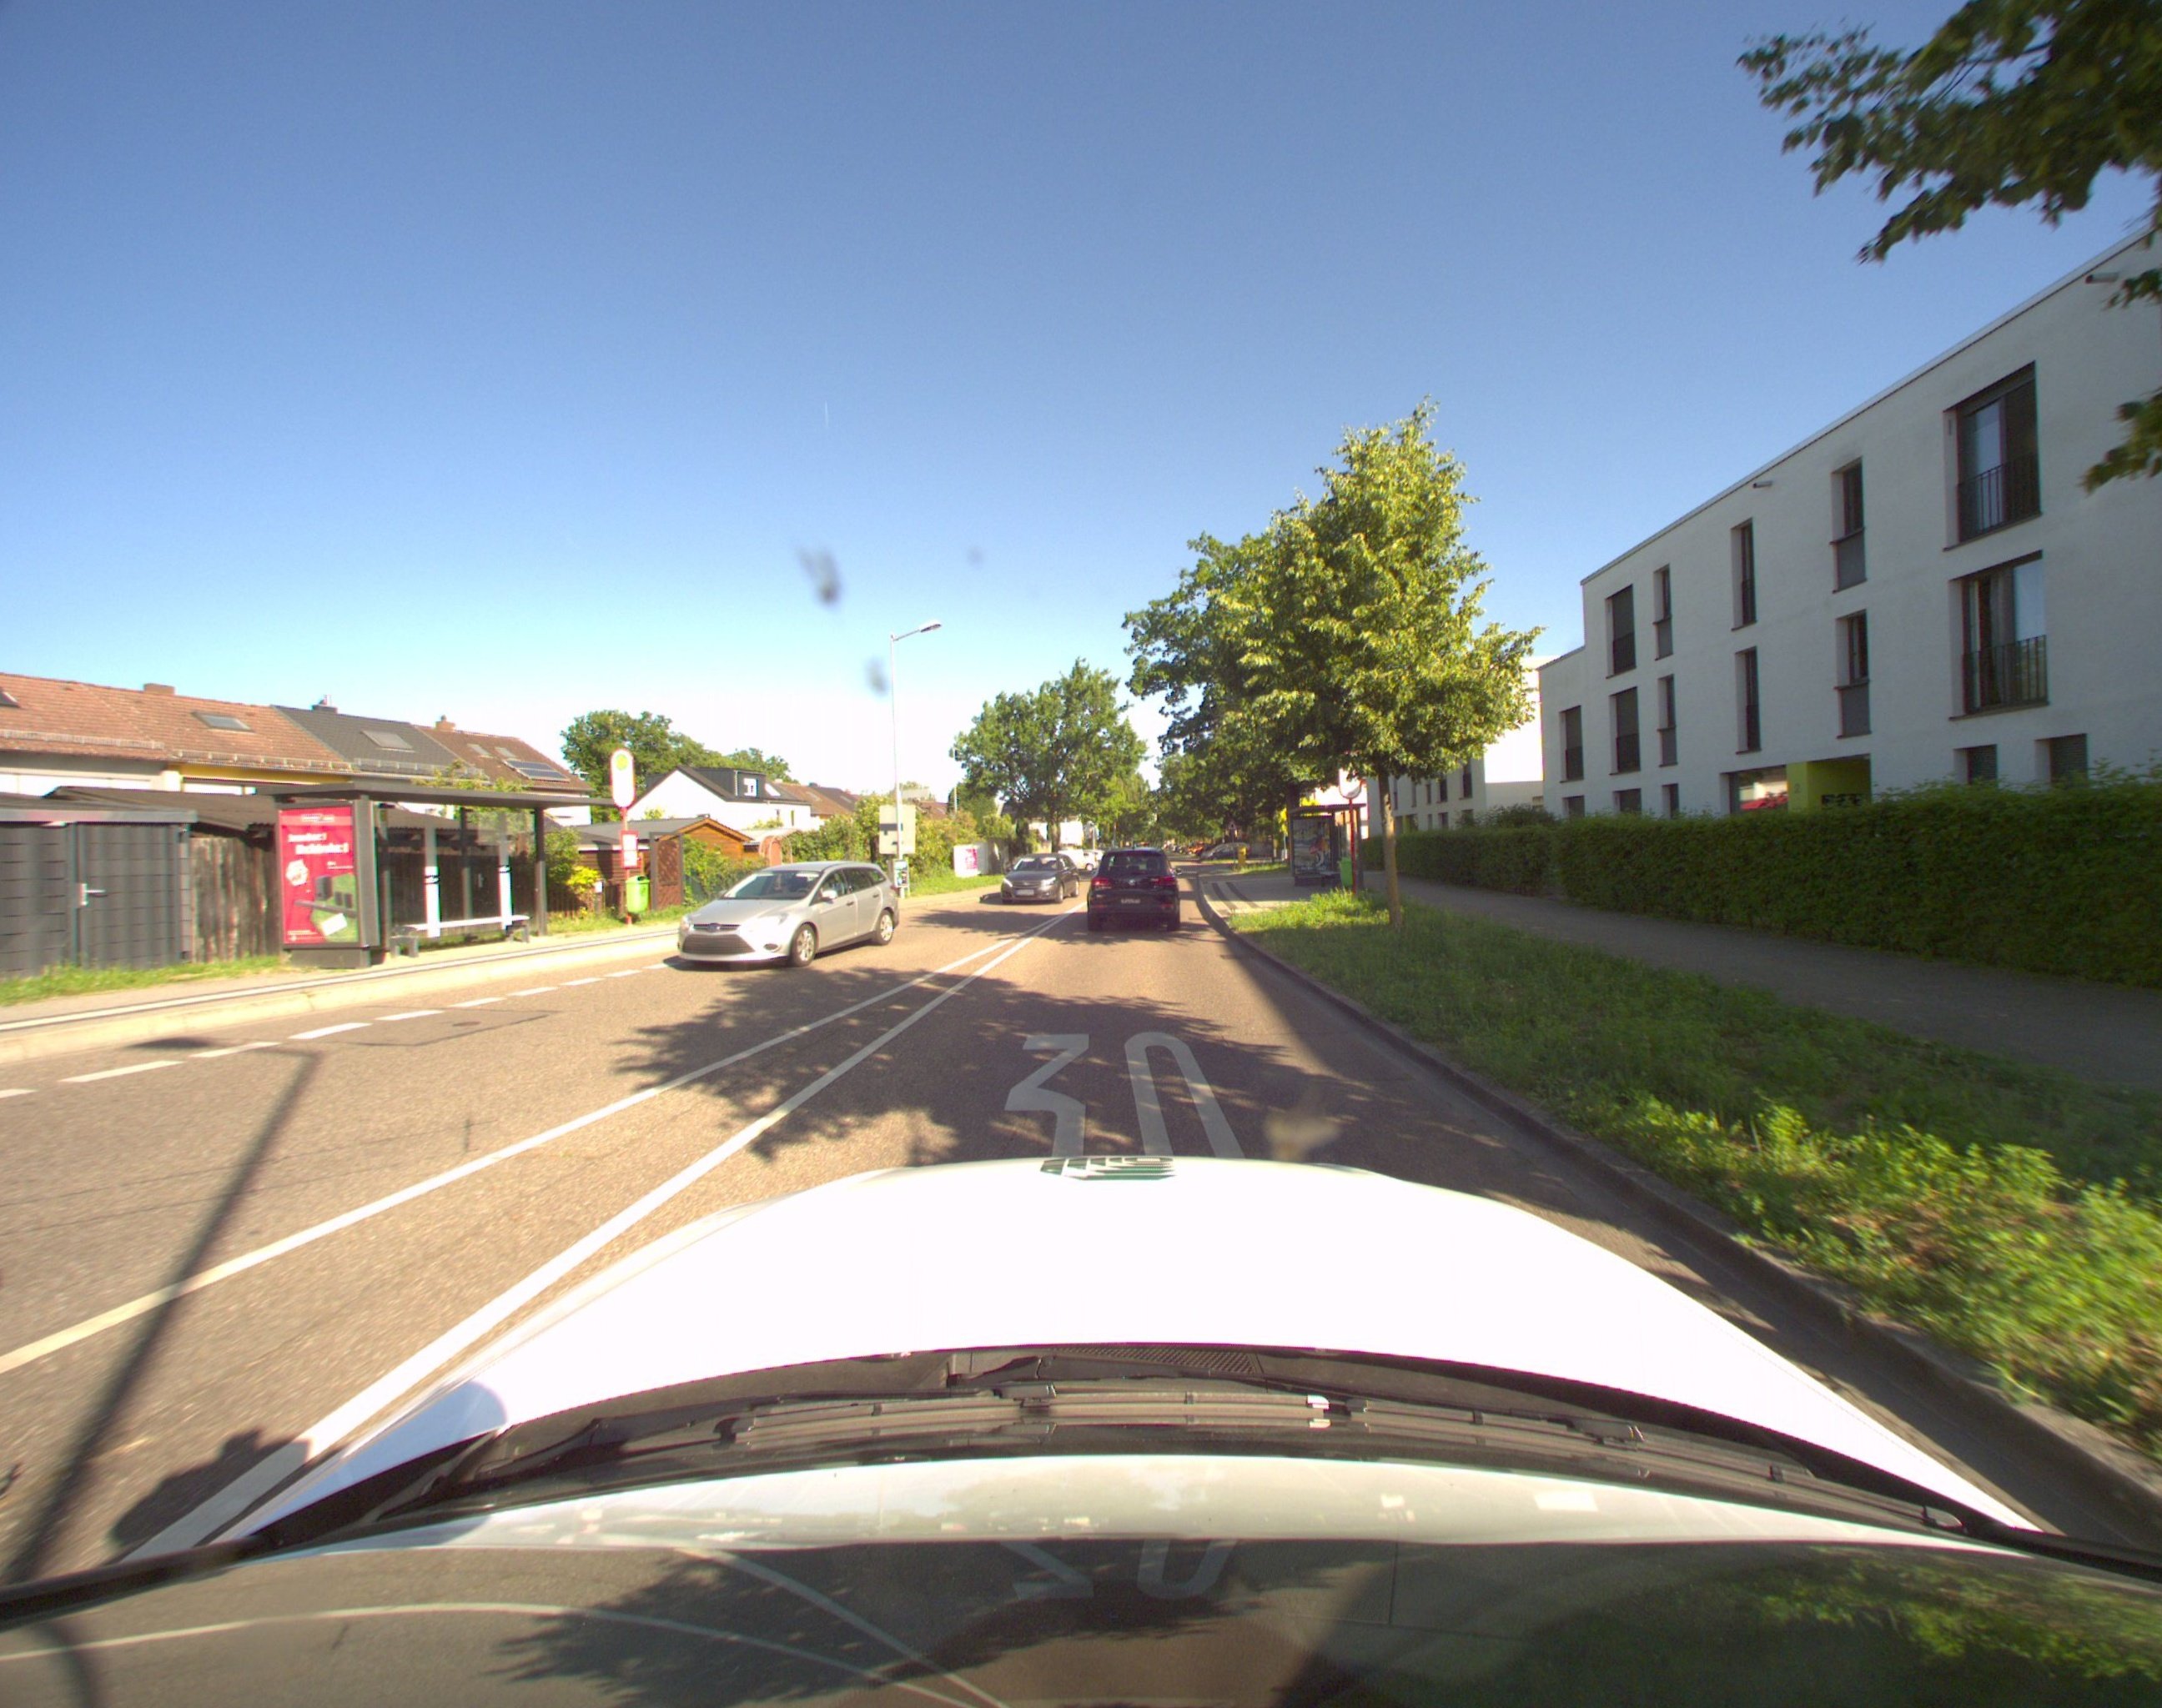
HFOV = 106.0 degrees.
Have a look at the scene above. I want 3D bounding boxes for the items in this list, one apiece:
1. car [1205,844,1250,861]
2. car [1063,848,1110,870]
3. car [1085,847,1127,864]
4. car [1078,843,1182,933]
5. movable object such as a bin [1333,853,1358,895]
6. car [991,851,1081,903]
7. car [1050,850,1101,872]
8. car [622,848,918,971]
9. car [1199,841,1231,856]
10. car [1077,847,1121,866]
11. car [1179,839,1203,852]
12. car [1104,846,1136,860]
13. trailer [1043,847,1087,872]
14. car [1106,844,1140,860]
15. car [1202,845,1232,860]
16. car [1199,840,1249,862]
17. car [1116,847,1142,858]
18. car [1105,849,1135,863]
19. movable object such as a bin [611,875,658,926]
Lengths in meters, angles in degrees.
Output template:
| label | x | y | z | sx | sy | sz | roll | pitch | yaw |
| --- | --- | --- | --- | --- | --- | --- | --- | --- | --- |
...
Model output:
| label | x | y | z | sx | sy | sz | roll | pitch | yaw |
| --- | --- | --- | --- | --- | --- | --- | --- | --- | --- |
| car | 13.448 | -0.149 | 75.055 | 3.966 | 1.368 | 1.850 | -2 | 0 | 6 |
| car | 0.448 | 0.375 | 63.578 | 3.537 | 1.613 | 1.853 | -2 | 0 | 1 |
| car | 2.587 | 0.139 | 83.648 | 3.964 | 1.640 | 2.005 | -2 | 0 | 8 |
| car | 1.038 | 0.613 | 17.551 | 1.921 | 1.654 | 4.518 | -1 | 1 | 3 |
| movable object such as a bin | 6.598 | 0.488 | 20.328 | 0.367 | 1.016 | 0.599 | -2 | 0 | -3 |
| car | -1.279 | 0.662 | 25.370 | 1.983 | 1.443 | 4.460 | -1 | 0 | 7 |
| car | -0.367 | 0.501 | 60.970 | 3.530 | 1.477 | 1.812 | -2 | 0 | 6 |
| car | -4.593 | 0.730 | 12.970 | 2.194 | 1.591 | 4.550 | -2 | 0 | 13 |
| car | 17.351 | -0.707 | 105.518 | 3.965 | 1.775 | 1.793 | -2 | 0 | 7 |
| car | 1.788 | 0.234 | 78.354 | 3.965 | 1.670 | 2.005 | -2 | 0 | 7 |
| car | 18.557 | -1.443 | 137.400 | 3.965 | 2.014 | 2.004 | -2 | -2 | 7 |
| car | 5.091 | -0.145 | 105.401 | 3.967 | 1.720 | 1.824 | -2 | -1 | 6 |
| trailer | -1.143 | 0.391 | 58.676 | 2.955 | 1.656 | 1.397 | -3 | 0 | 3 |
| car | 5.531 | -0.237 | 107.844 | 4.372 | 1.939 | 1.579 | -2 | -1 | 2 |
| car | 14.920 | -0.124 | 89.359 | 3.033 | 1.507 | 1.247 | -2 | 0 | 0 |
| car | 13.581 | -0.271 | 77.559 | 4.609 | 1.809 | 1.827 | -3 | 0 | 6 |
| car | 7.725 | -0.269 | 130.772 | 3.975 | 1.684 | 1.922 | -2 | 0 | -1 |
| car | 4.469 | 0.191 | 92.866 | 3.357 | 1.490 | 1.645 | -2 | 0 | 3 |
| movable object such as a bin | -8.983 | 0.931 | 16.400 | 0.589 | 0.967 | 0.560 | 2 | 1 | 11 |
